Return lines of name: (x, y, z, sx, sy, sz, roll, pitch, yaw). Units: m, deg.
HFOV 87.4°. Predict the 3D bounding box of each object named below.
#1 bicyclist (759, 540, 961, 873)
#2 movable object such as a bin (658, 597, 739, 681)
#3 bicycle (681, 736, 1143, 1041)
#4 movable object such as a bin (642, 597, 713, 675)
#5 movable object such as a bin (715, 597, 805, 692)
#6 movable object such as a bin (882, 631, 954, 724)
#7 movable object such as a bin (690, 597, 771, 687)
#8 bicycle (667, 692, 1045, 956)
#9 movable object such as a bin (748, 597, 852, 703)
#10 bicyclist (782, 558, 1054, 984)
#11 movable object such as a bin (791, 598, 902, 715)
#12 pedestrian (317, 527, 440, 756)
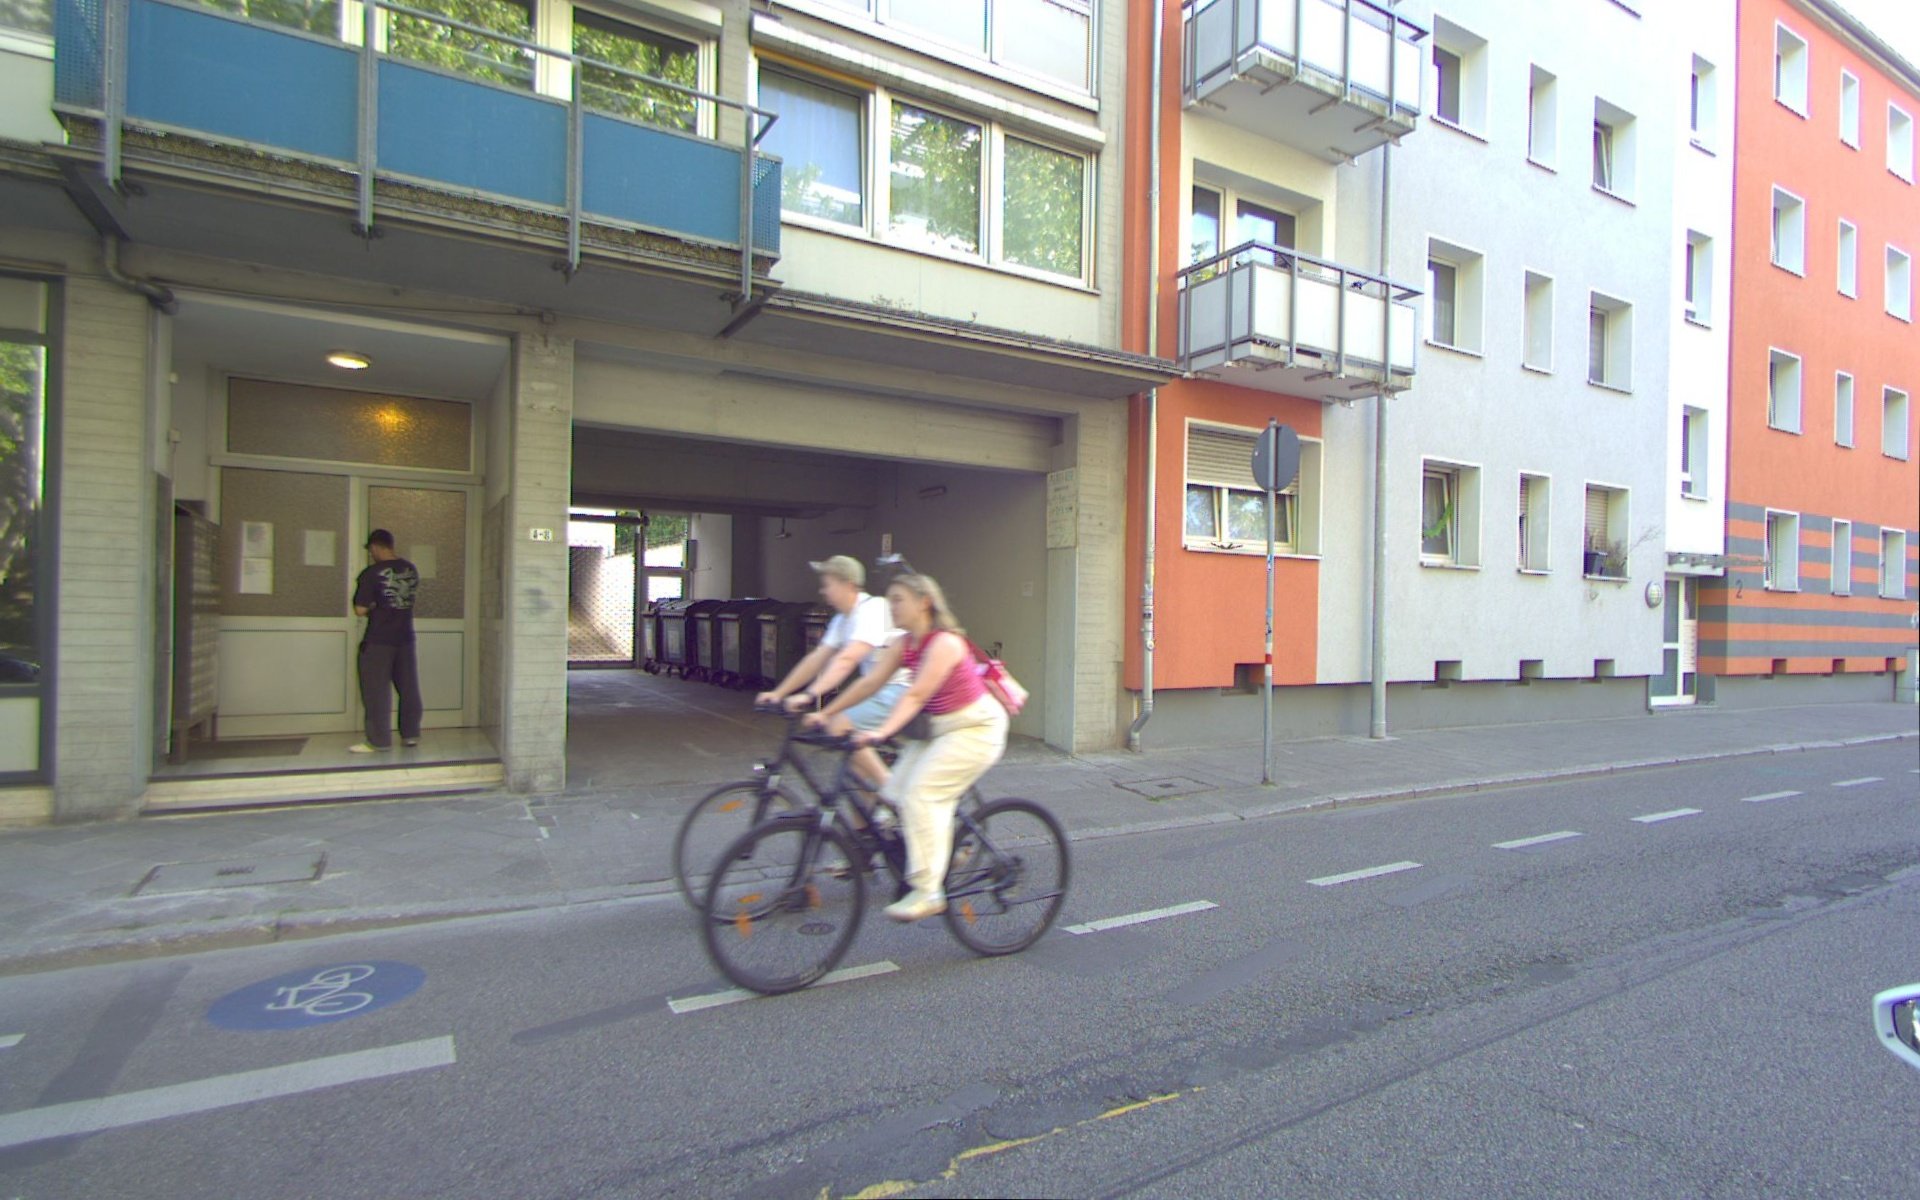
bicyclist: (-0.551, 0.513, 5.313, 0.827, 1.575, 0.840, 1, 0, -24)
movable object such as a bin: (-4.863, 0.706, 18.674, 1.167, 1.503, 1.215, 1, 0, -30)
bicycle: (-0.191, 1.123, 4.279, 1.837, 0.941, 0.692, 1, 0, -24)
movable object such as a bin: (-5.609, 0.701, 19.944, 1.167, 1.503, 0.819, 1, 0, -30)
movable object such as a bin: (-3.326, 0.720, 16.626, 1.167, 1.503, 1.073, 1, 0, -30)
movable object such as a bin: (-0.520, 0.939, 12.447, 0.687, 1.094, 0.579, 1, 0, -30)
movable object such as a bin: (-4.043, 0.718, 17.634, 1.080, 1.503, 1.159, 1, 0, -30)
bicycle: (-0.556, 1.087, 5.321, 1.811, 1.093, 0.860, 1, 0, -24)
movable object such as a bin: (-2.430, 0.728, 15.139, 1.167, 1.503, 1.252, 1, 0, -30)
bicyclist: (-0.195, 0.651, 4.272, 0.967, 1.599, 0.683, 1, 0, -22)
movable object such as a bin: (-1.574, 0.737, 13.772, 1.086, 1.503, 1.251, 1, 0, -30)
pedestrian: (-4.604, 0.316, 7.986, 0.537, 1.736, 0.662, 1, 0, 3)
